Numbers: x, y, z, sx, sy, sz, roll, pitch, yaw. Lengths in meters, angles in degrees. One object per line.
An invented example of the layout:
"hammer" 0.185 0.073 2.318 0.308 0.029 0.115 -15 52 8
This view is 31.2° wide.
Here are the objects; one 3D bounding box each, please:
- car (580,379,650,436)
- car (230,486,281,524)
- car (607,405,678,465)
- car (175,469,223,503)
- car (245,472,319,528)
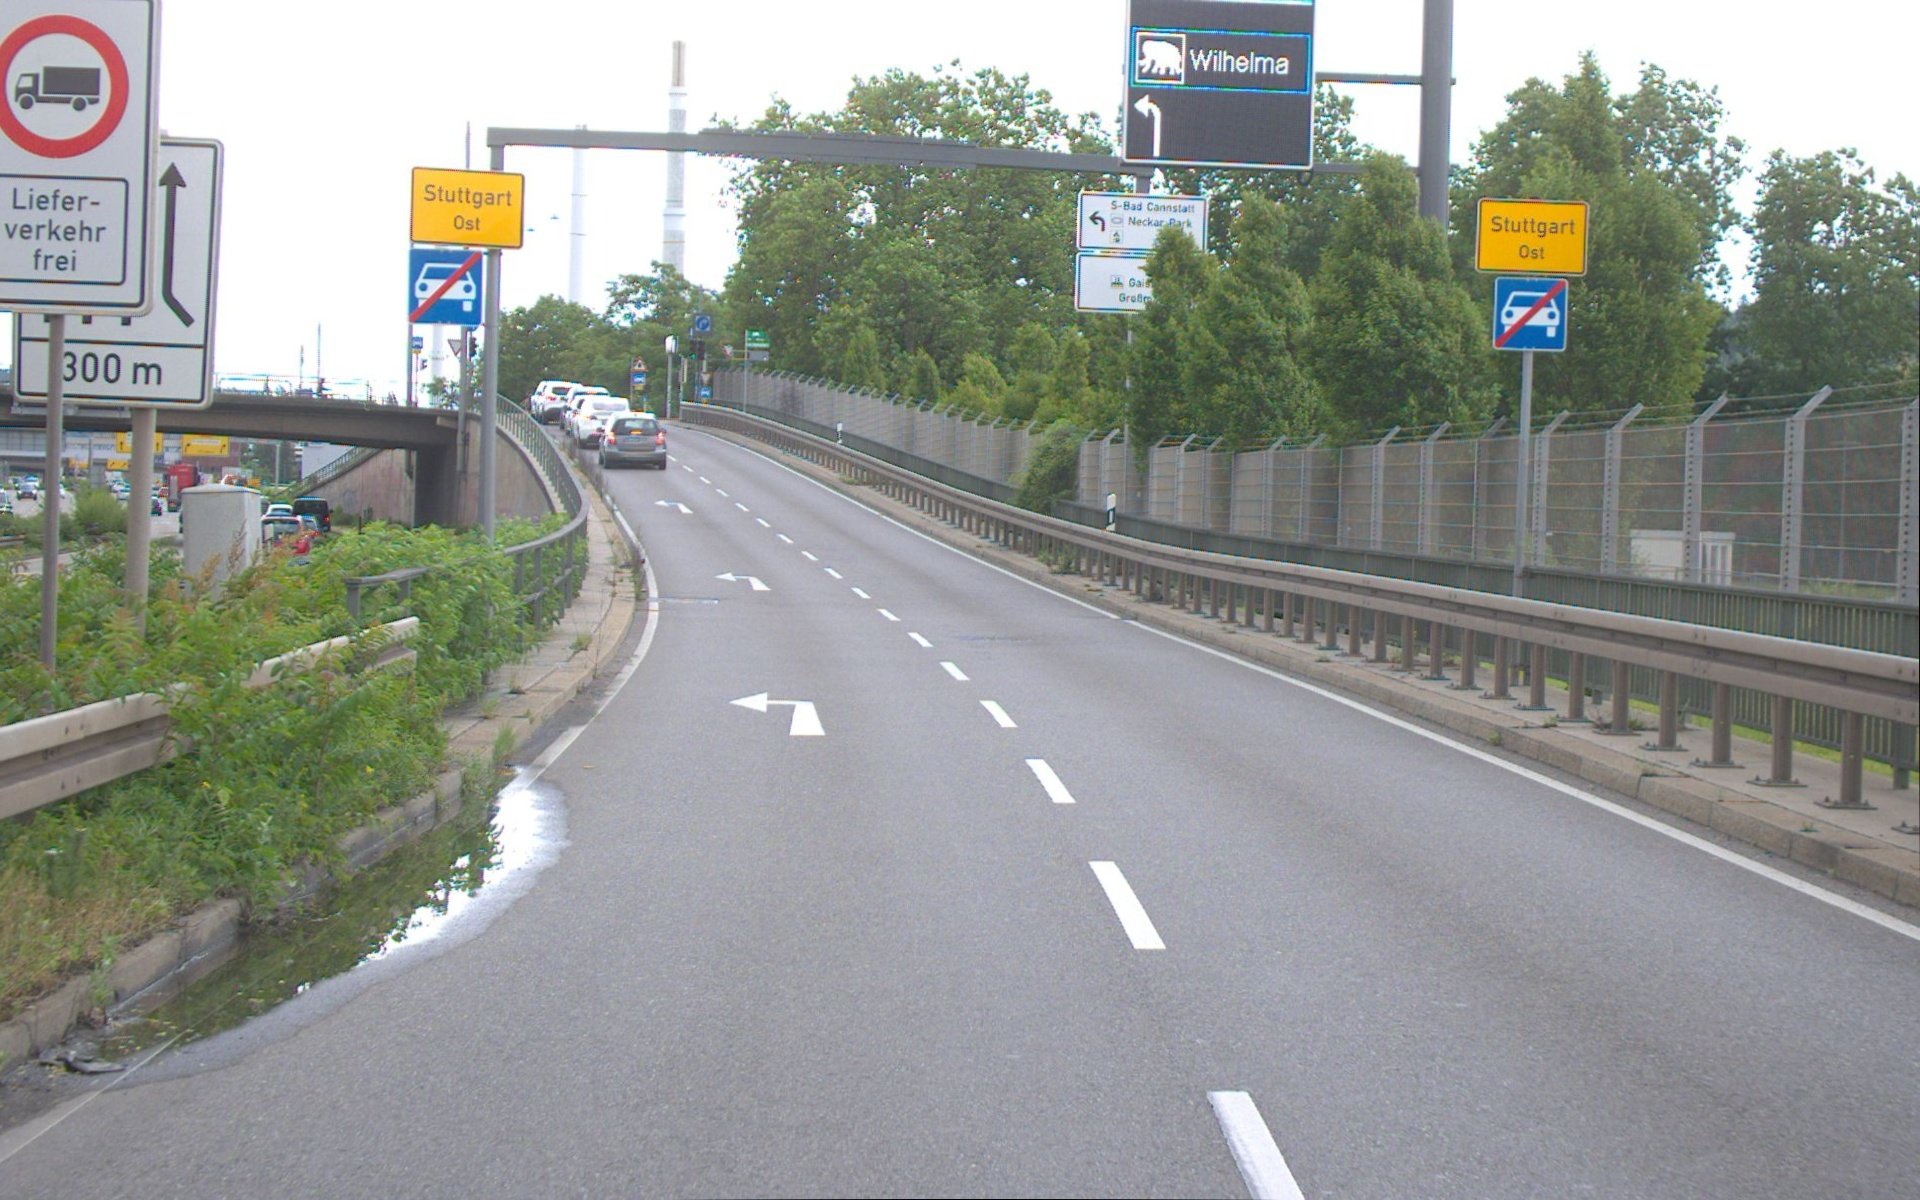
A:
"car" -10.993 -6.153 109.484 1.993 1.597 4.002 0 6 -9
"car" -34.428 -4.631 167.999 1.993 1.678 4.001 2 3 -6
"car" -9.046 -4.705 98.275 1.749 1.575 4.086 3 2 -2
"car" -40.945 -6.133 185.037 1.993 1.678 4.001 2 3 -6
"car" -19.651 -2.911 99.542 1.993 1.415 4.002 2 3 -12
